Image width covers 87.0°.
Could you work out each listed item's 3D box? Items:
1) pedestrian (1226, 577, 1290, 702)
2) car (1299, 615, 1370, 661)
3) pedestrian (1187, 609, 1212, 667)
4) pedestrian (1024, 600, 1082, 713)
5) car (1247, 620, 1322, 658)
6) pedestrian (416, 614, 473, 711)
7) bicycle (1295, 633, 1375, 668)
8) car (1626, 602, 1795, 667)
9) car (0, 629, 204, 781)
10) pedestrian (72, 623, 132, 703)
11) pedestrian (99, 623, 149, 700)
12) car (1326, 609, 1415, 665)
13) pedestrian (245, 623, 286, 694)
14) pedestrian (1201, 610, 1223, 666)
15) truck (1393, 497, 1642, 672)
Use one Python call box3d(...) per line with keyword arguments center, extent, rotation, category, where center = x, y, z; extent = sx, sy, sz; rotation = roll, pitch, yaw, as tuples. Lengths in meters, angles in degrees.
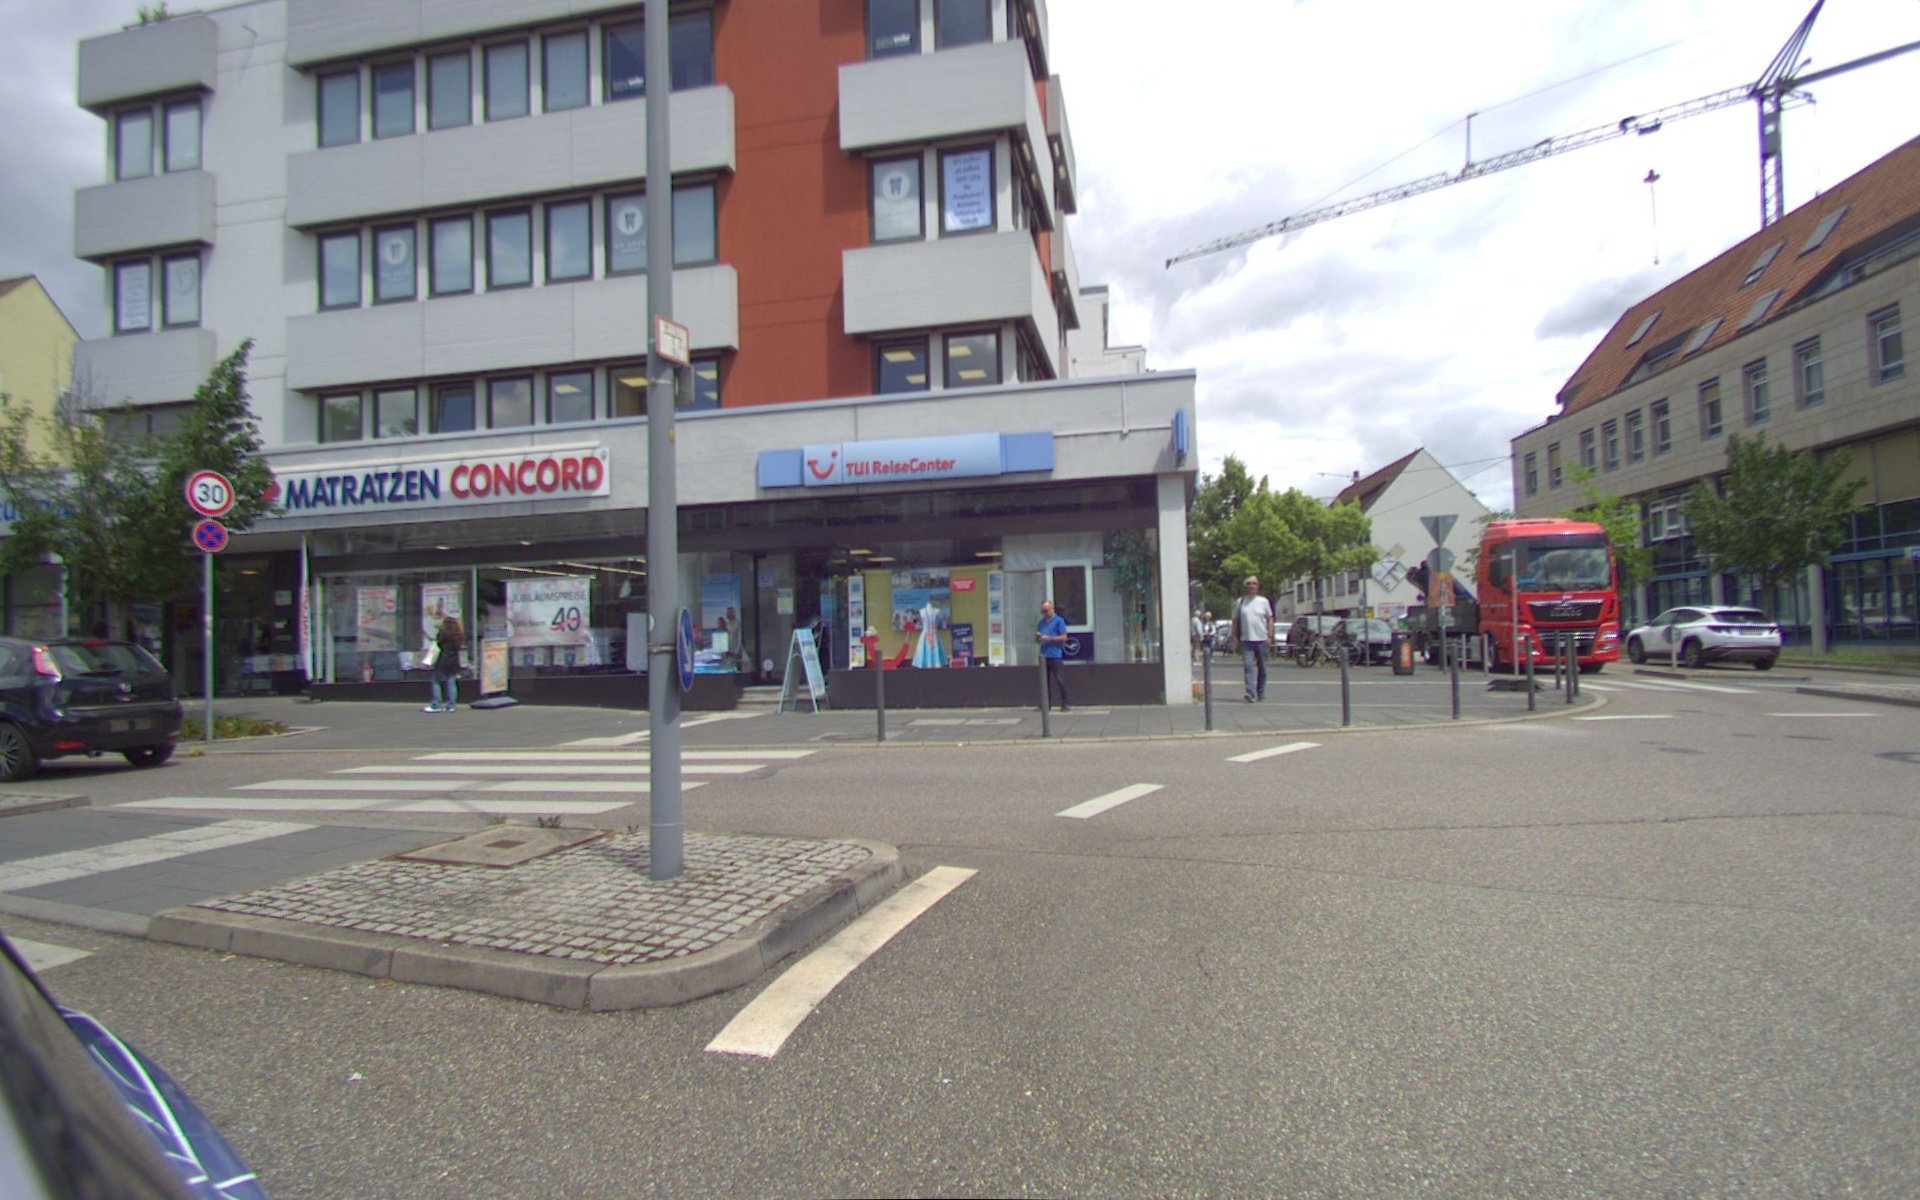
box3d(center=(4.620, 0.609, 15.722), extent=(0.796, 1.889, 0.680), rotation=(-1, -2, 6), category="pedestrian")
box3d(center=(13.515, 1.344, 36.732), extent=(1.845, 1.593, 4.357), rotation=(0, -1, 13), category="car")
box3d(center=(7.403, 1.168, 31.284), extent=(0.673, 1.769, 0.509), rotation=(-1, -2, 7), category="pedestrian")
box3d(center=(1.366, 0.823, 14.883), extent=(0.596, 1.616, 0.570), rotation=(0, -2, -36), category="pedestrian")
box3d(center=(13.875, 1.645, 43.519), extent=(1.838, 1.578, 4.374), rotation=(0, -1, 0), category="car")
box3d(center=(-8.610, 1.032, 16.906), extent=(0.631, 1.600, 0.587), rotation=(-1, -1, 9), category="pedestrian")
box3d(center=(10.467, 1.410, 28.292), extent=(2.046, 0.953, 0.519), rotation=(0, -1, 14), category="bicycle")
box3d(center=(19.972, 0.897, 27.187), extent=(1.843, 1.593, 4.361), rotation=(0, -1, 10), category="car")
box3d(center=(-10.643, 1.045, 10.894), extent=(4.073, 1.430, 1.698), rotation=(0, -1, 10), category="car")
box3d(center=(-17.316, 1.267, 20.438), extent=(0.580, 1.578, 0.643), rotation=(-1, -4, 9), category="pedestrian")
box3d(center=(-17.382, 1.285, 21.045), extent=(0.581, 1.578, 0.509), rotation=(-1, -4, 14), category="pedestrian")
box3d(center=(12.575, 1.112, 31.250), extent=(1.845, 1.593, 4.357), rotation=(0, -1, 13), category="car")
box3d(center=(-17.240, 1.450, 25.132), extent=(0.579, 1.718, 0.644), rotation=(-2, -4, 3), category="pedestrian")
box3d(center=(8.093, 1.205, 32.490), extent=(0.509, 1.769, 0.532), rotation=(-2, -2, 30), category="pedestrian")
box3d(center=(15.252, -0.231, 28.906), extent=(2.935, 4.058, 10.560), rotation=(0, -1, 10), category="truck")
